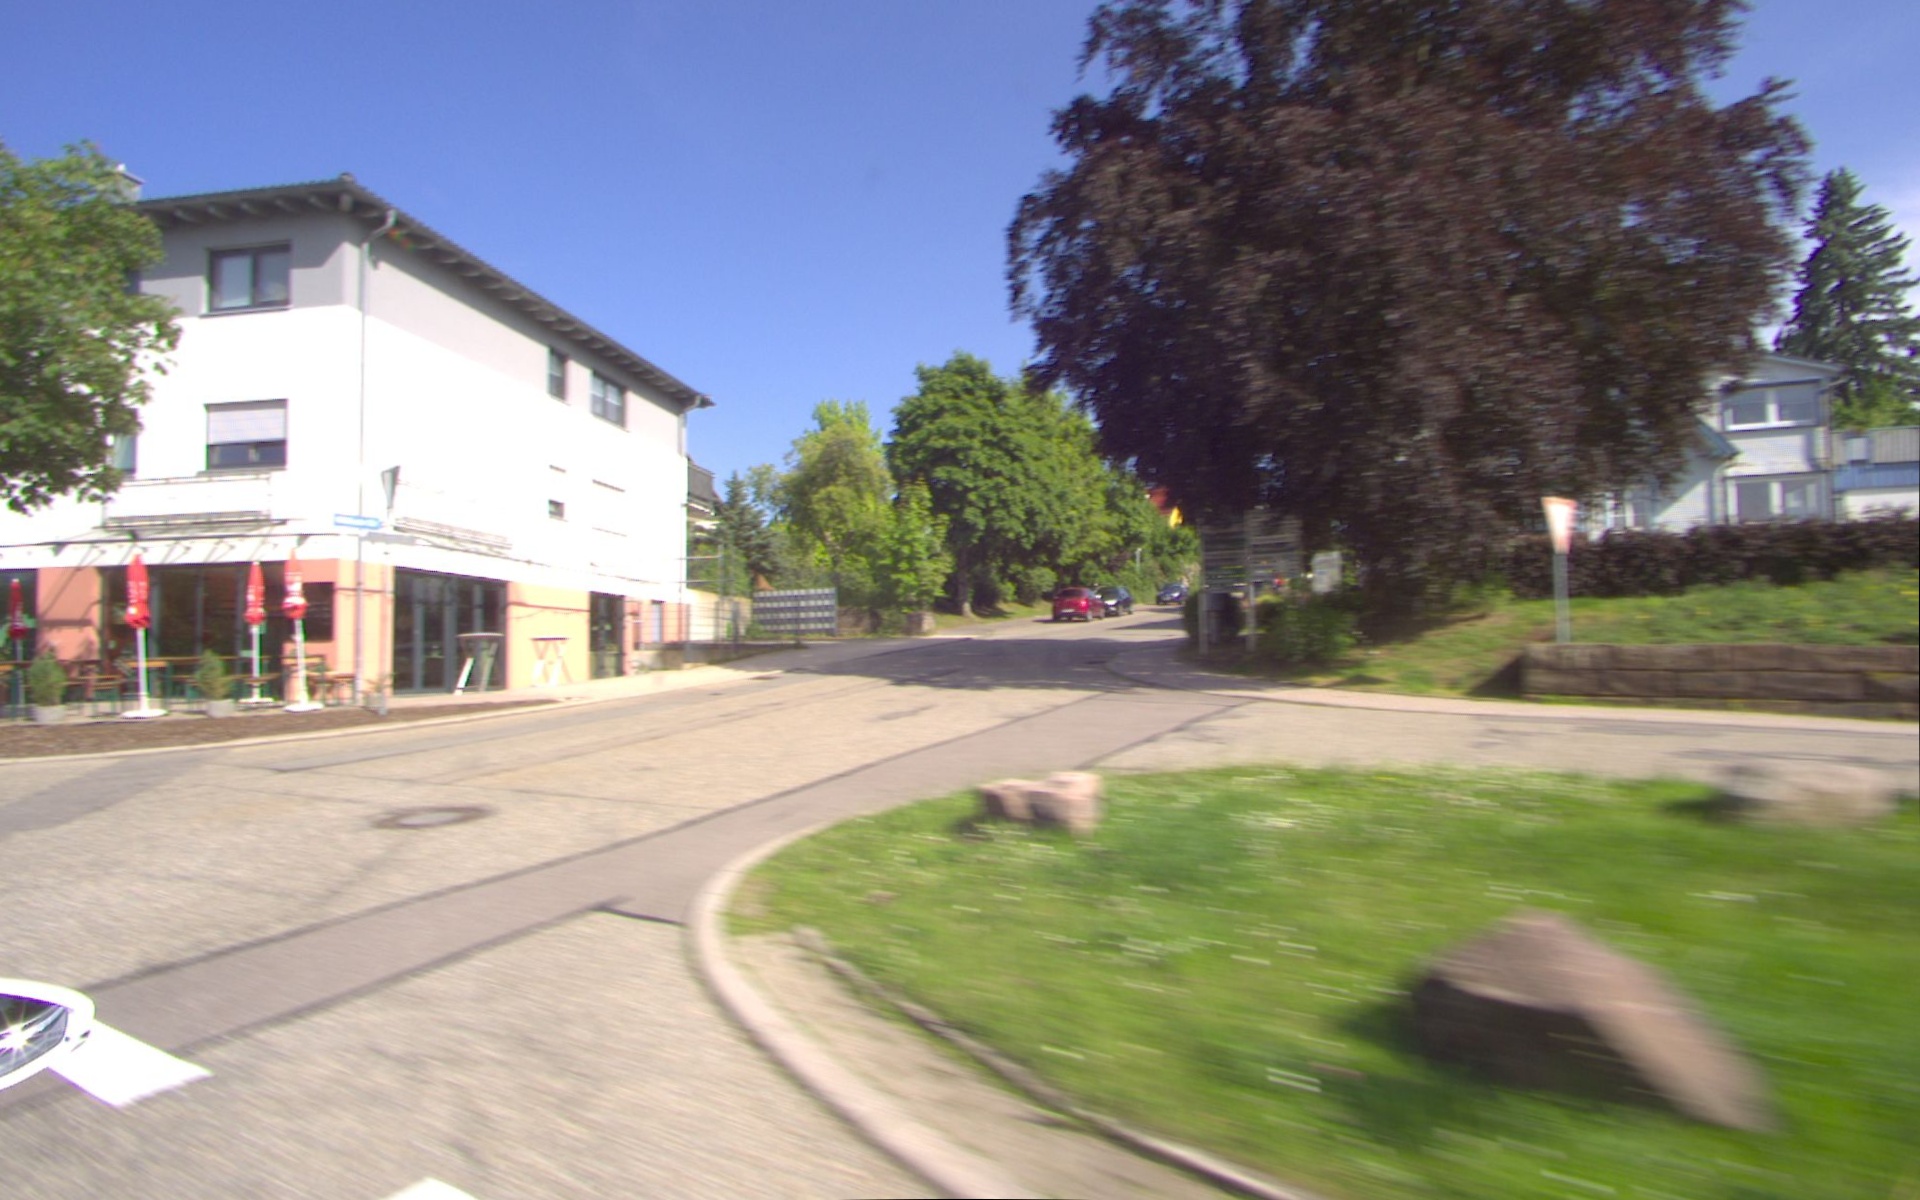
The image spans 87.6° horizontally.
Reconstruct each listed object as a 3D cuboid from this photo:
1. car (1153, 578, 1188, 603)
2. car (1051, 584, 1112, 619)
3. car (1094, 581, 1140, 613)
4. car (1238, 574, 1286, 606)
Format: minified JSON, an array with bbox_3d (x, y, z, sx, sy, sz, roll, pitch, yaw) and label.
[{"bbox_3d":[14.169,-0.644,67.250,1.694,1.640,3.921,-1,0,21],"label":"car"},{"bbox_3d":[5.419,0.036,44.475,1.712,1.483,3.258,-1,1,26],"label":"car"},{"bbox_3d":[7.782,-0.124,49.455,1.564,1.522,3.293,0,0,22],"label":"car"},{"bbox_3d":[17.319,-0.572,57.308,1.968,1.762,3.984,-1,1,26],"label":"car"}]
